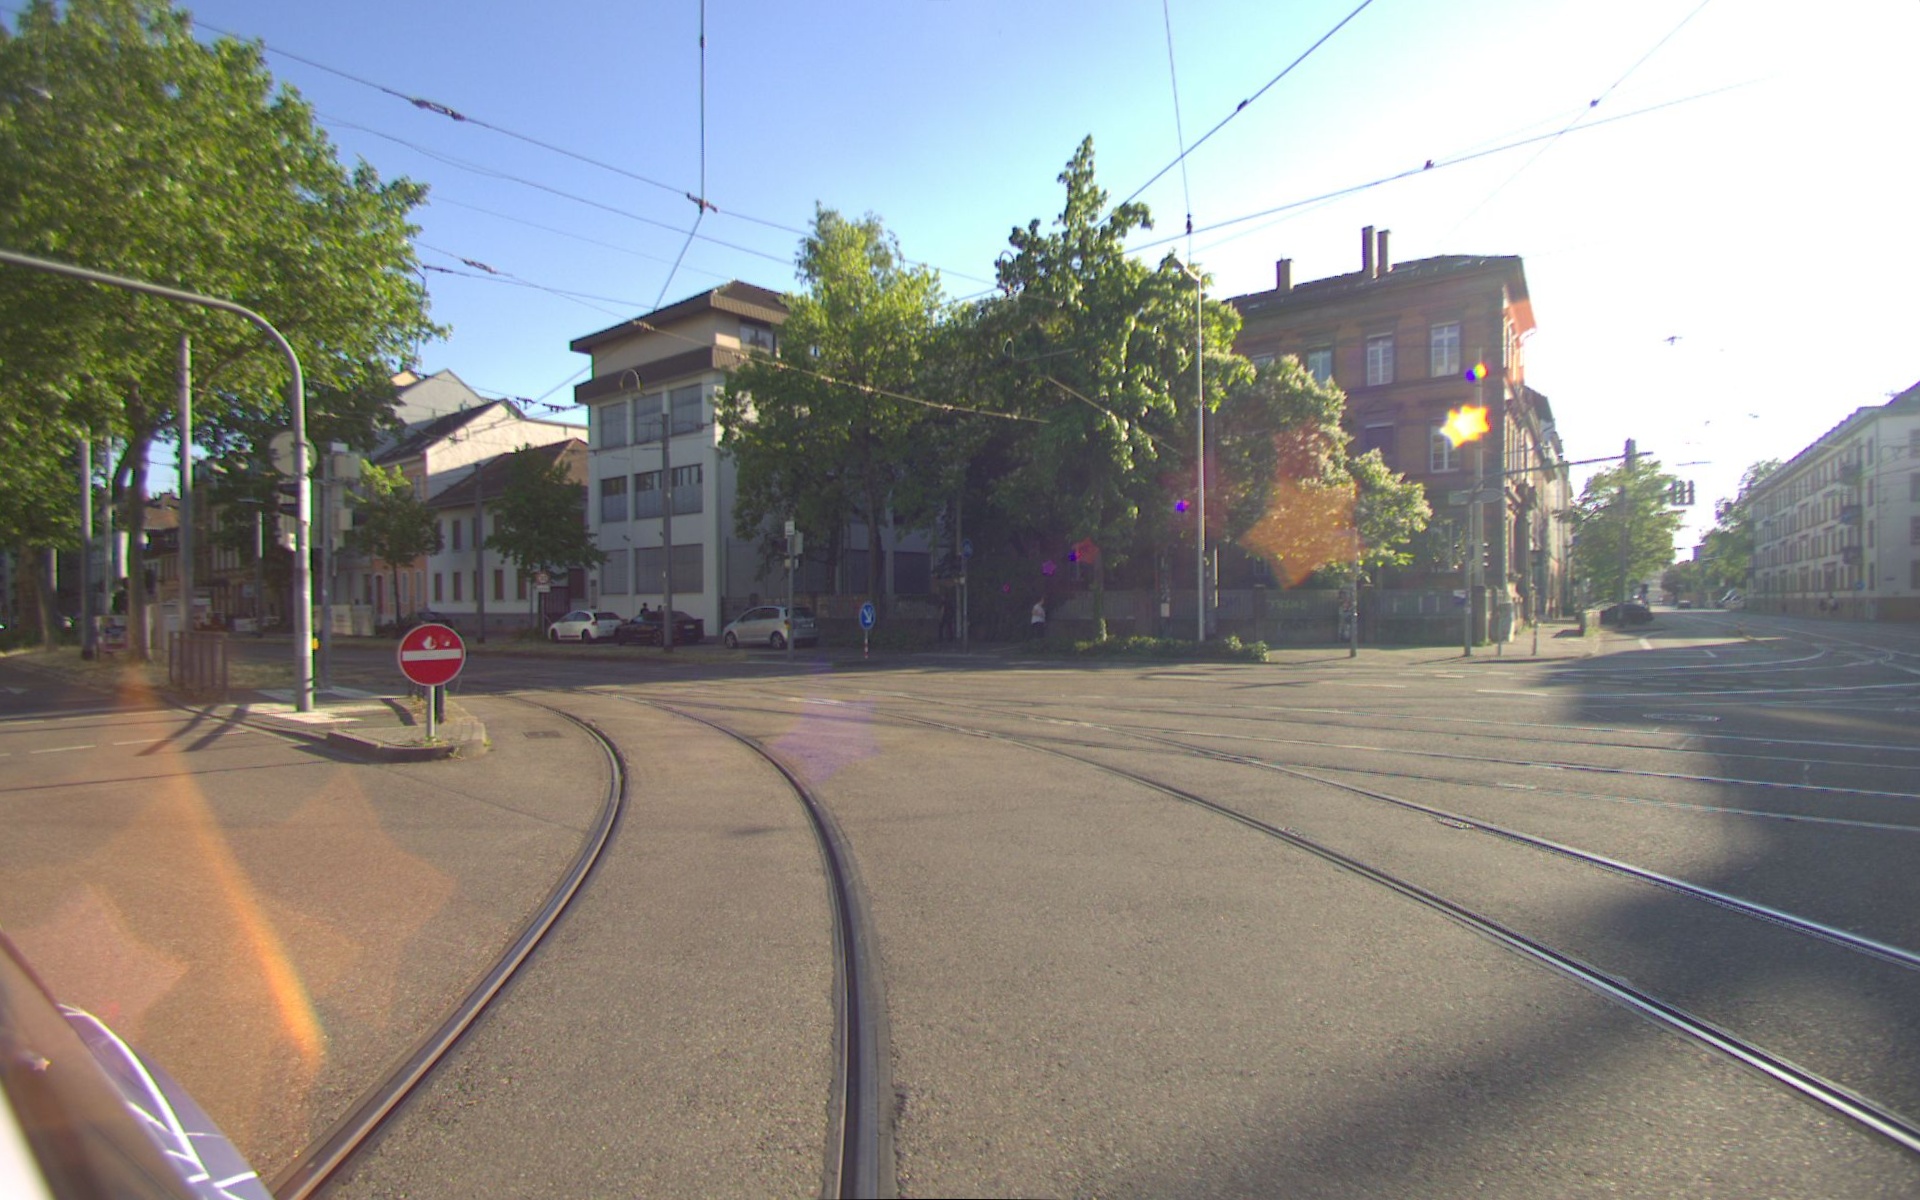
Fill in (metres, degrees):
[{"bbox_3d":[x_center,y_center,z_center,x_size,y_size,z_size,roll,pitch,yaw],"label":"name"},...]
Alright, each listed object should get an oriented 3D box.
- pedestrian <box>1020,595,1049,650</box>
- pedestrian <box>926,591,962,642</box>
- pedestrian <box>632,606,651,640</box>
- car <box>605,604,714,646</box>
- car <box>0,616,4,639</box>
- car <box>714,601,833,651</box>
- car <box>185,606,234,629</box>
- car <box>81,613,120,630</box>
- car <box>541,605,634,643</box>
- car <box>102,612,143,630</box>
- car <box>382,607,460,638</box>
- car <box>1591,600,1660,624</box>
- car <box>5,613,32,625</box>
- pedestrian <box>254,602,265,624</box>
[{"bbox_3d":[2.316,0.687,31.522,0.631,1.677,0.562,-1,2,38],"label":"pedestrian"},{"bbox_3d":[-0.573,0.575,35.644,1.018,1.765,0.727,-1,-1,39],"label":"pedestrian"},{"bbox_3d":[-14.623,1.051,46.471,0.710,1.540,0.531,-1,-1,34],"label":"pedestrian"},{"bbox_3d":[-12.271,0.977,41.234,4.451,1.513,2.062,-1,2,38],"label":"car"},{"bbox_3d":[-78.045,2.196,80.900,3.998,1.785,1.973,0,1,41],"label":"car"},{"bbox_3d":[-6.861,0.929,37.071,4.092,1.631,2.062,-1,2,38],"label":"car"},{"bbox_3d":[-61.165,1.439,82.437,4.527,1.686,2.062,-1,2,38],"label":"car"},{"bbox_3d":[-89.173,2.228,105.016,5.098,1.551,2.062,-1,2,38],"label":"car"},{"bbox_3d":[-16.541,1.057,44.899,3.992,1.501,2.062,-1,2,38],"label":"car"},{"bbox_3d":[-79.561,1.952,96.090,4.510,1.551,2.062,-1,2,38],"label":"car"},{"bbox_3d":[-29.673,1.217,55.668,4.573,1.481,2.062,-1,2,38],"label":"car"},{"bbox_3d":[46.960,0.842,71.513,3.987,1.586,1.978,-1,0,32],"label":"car"},{"bbox_3d":[-127.843,2.592,137.419,4.115,1.551,2.062,-1,2,38],"label":"car"},{"bbox_3d":[-58.441,1.080,84.443,0.704,1.823,0.554,-1,-1,40],"label":"pedestrian"}]
